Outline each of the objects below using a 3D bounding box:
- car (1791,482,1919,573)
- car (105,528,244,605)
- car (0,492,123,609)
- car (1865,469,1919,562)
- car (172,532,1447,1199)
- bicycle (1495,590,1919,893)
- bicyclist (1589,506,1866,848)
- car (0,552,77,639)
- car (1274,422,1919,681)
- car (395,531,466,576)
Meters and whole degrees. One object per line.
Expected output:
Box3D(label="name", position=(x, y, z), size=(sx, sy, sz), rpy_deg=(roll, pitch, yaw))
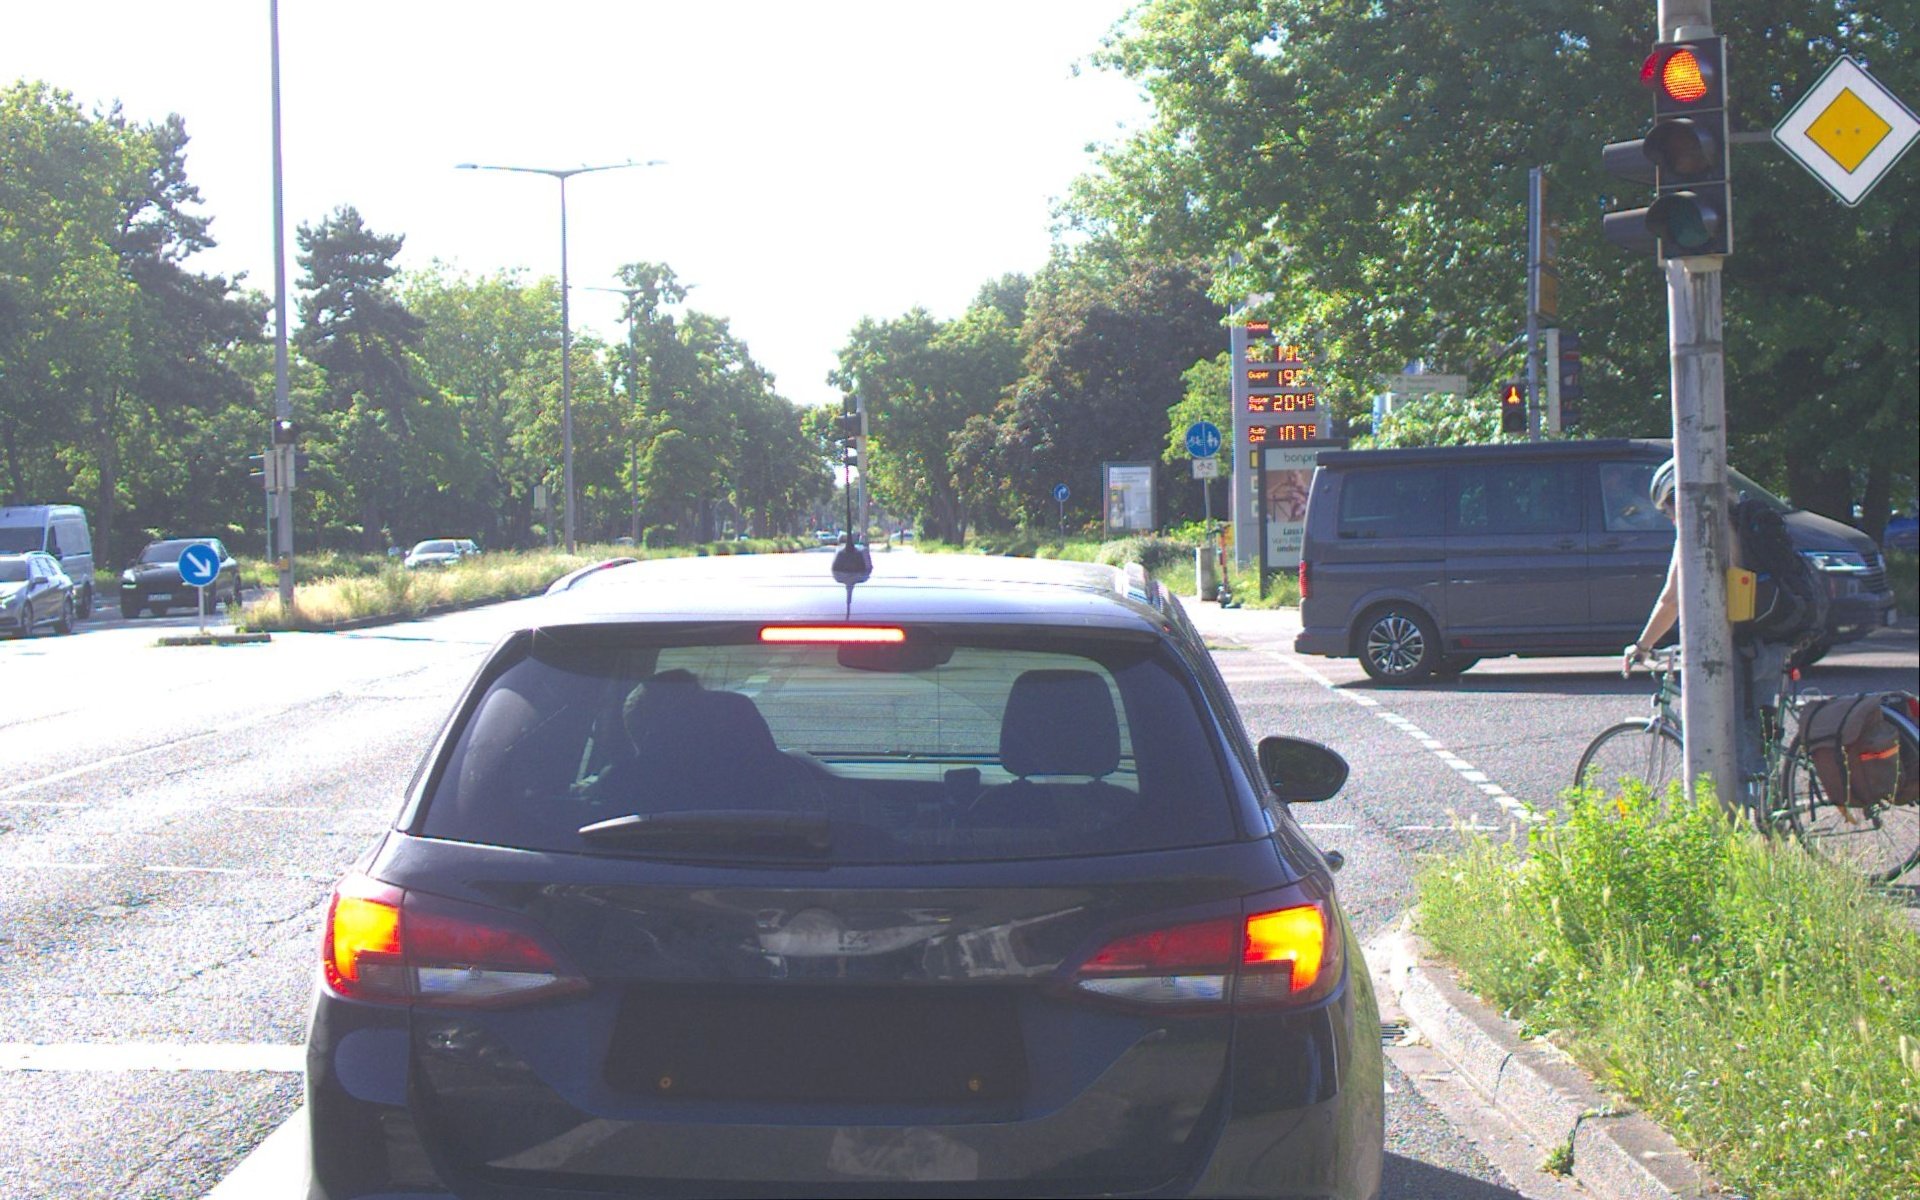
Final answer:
Box3D(label="car", position=(16.620, -1.290, 59.807), size=(3.887, 1.512, 1.746), rpy_deg=(-2, 1, -23))
Box3D(label="car", position=(-17.199, -0.759, 75.506), size=(1.993, 1.596, 4.616), rpy_deg=(-1, 1, -1))
Box3D(label="car", position=(-20.412, -1.107, 76.526), size=(2.100, 2.484, 6.004), rpy_deg=(-2, 1, -1))
Box3D(label="car", position=(17.095, -1.432, 56.721), size=(3.887, 1.512, 1.746), rpy_deg=(-2, 1, -23))
Box3D(label="car", position=(-0.232, 0.629, 6.852), size=(1.756, 1.490, 4.207), rpy_deg=(0, 1, -1))
Box3D(label="bicycle", position=(2.980, 0.544, 13.338), size=(0.536, 1.094, 1.775), rpy_deg=(-3, 0, -44))
Box3D(label="bicyclist", position=(2.972, 0.299, 13.336), size=(0.536, 1.272, 0.829), rpy_deg=(-3, 0, -44))
Box3D(label="car", position=(-16.886, -0.088, 60.133), size=(1.686, 1.428, 4.615), rpy_deg=(-2, 1, -1))
Box3D(label="car", position=(5.321, -0.385, 28.604), size=(5.005, 1.985, 1.915), rpy_deg=(-1, 1, 23))
Box3D(label="car", position=(-18.137, -1.603, 117.913), size=(1.776, 1.458, 4.165), rpy_deg=(-1, 1, -1))
